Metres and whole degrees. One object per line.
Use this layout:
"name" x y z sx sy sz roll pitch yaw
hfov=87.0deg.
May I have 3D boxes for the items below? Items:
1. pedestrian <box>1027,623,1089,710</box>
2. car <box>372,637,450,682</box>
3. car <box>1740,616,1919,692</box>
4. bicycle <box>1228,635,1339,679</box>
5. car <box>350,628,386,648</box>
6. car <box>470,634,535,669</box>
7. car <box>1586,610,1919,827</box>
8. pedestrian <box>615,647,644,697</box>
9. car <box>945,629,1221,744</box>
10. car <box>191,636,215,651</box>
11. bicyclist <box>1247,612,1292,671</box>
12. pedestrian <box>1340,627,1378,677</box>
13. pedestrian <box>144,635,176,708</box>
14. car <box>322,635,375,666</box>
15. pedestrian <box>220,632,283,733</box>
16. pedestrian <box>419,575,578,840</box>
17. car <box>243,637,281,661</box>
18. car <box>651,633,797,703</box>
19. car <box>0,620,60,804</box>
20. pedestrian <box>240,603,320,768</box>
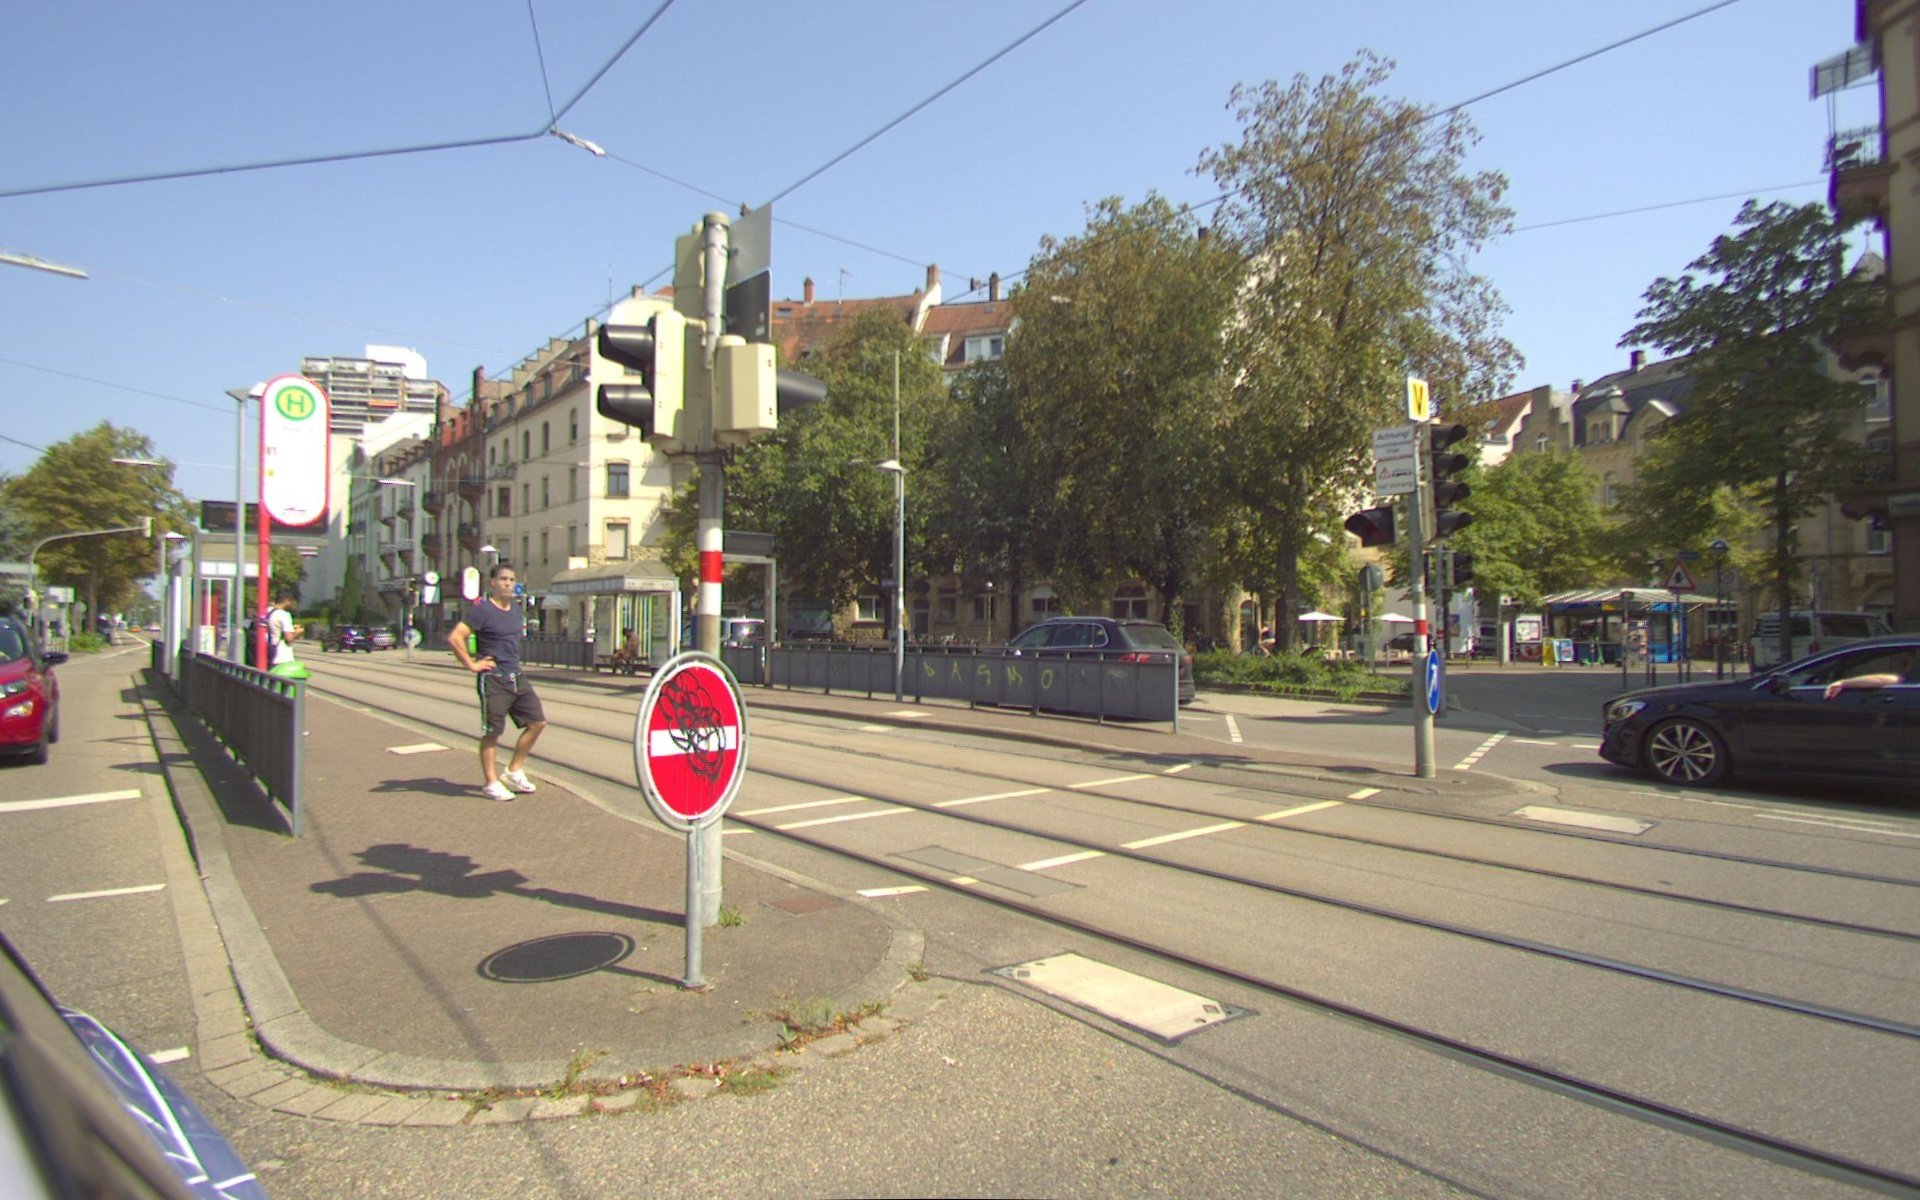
"pedestrian" 2.360 1.569 24.394 1.078 2.029 1.038 0 -1 -40
"car" -22.620 2.392 41.615 1.968 1.739 4.639 3 -4 -38
"car" 25.164 1.512 28.867 4.941 2.029 2.173 1 -2 -18
"bicycle" 11.221 1.959 35.161 3.474 1.447 1.209 -1 -3 33
"car" -52.819 3.377 90.231 1.968 1.739 4.639 3 -4 -39
"car" -24.219 2.716 53.500 1.968 1.739 4.639 3 -4 -39
"car" 8.121 0.945 8.346 1.968 1.660 4.639 3 -4 -38
"pedestrian" -8.415 1.824 25.756 0.472 1.260 0.649 2 -3 -39
"car" 1.913 1.362 17.096 1.967 1.660 4.641 3 -3 -37
"car" -89.197 5.093 119.202 1.968 1.739 4.639 3 -4 -39
"bicyclist" 10.851 1.439 35.441 1.208 2.029 1.196 0 -2 34
"pedestrian" 16.824 2.184 42.674 1.019 2.029 1.097 0 -1 -35
"pedestrian" -18.999 1.676 24.040 0.527 1.706 0.834 2 -3 -37
"car" -35.820 2.949 59.240 1.968 1.739 4.639 3 -4 -39
"pedestrian" -11.619 1.325 16.601 0.728 1.596 0.855 2 -3 -41
"pedestrian" -3.524 0.787 7.801 0.669 1.899 0.919 -1 -2 14
"car" -54.390 3.806 78.851 1.968 1.739 4.639 3 -4 -39
"car" -6.514 1.800 27.619 1.968 1.739 4.638 3 -4 -40
"car" -11.419 1.187 11.468 1.776 1.825 4.422 0 -1 -41
"pedestrian" -8.200 1.000 12.198 0.665 1.899 0.924 2 -3 -40
